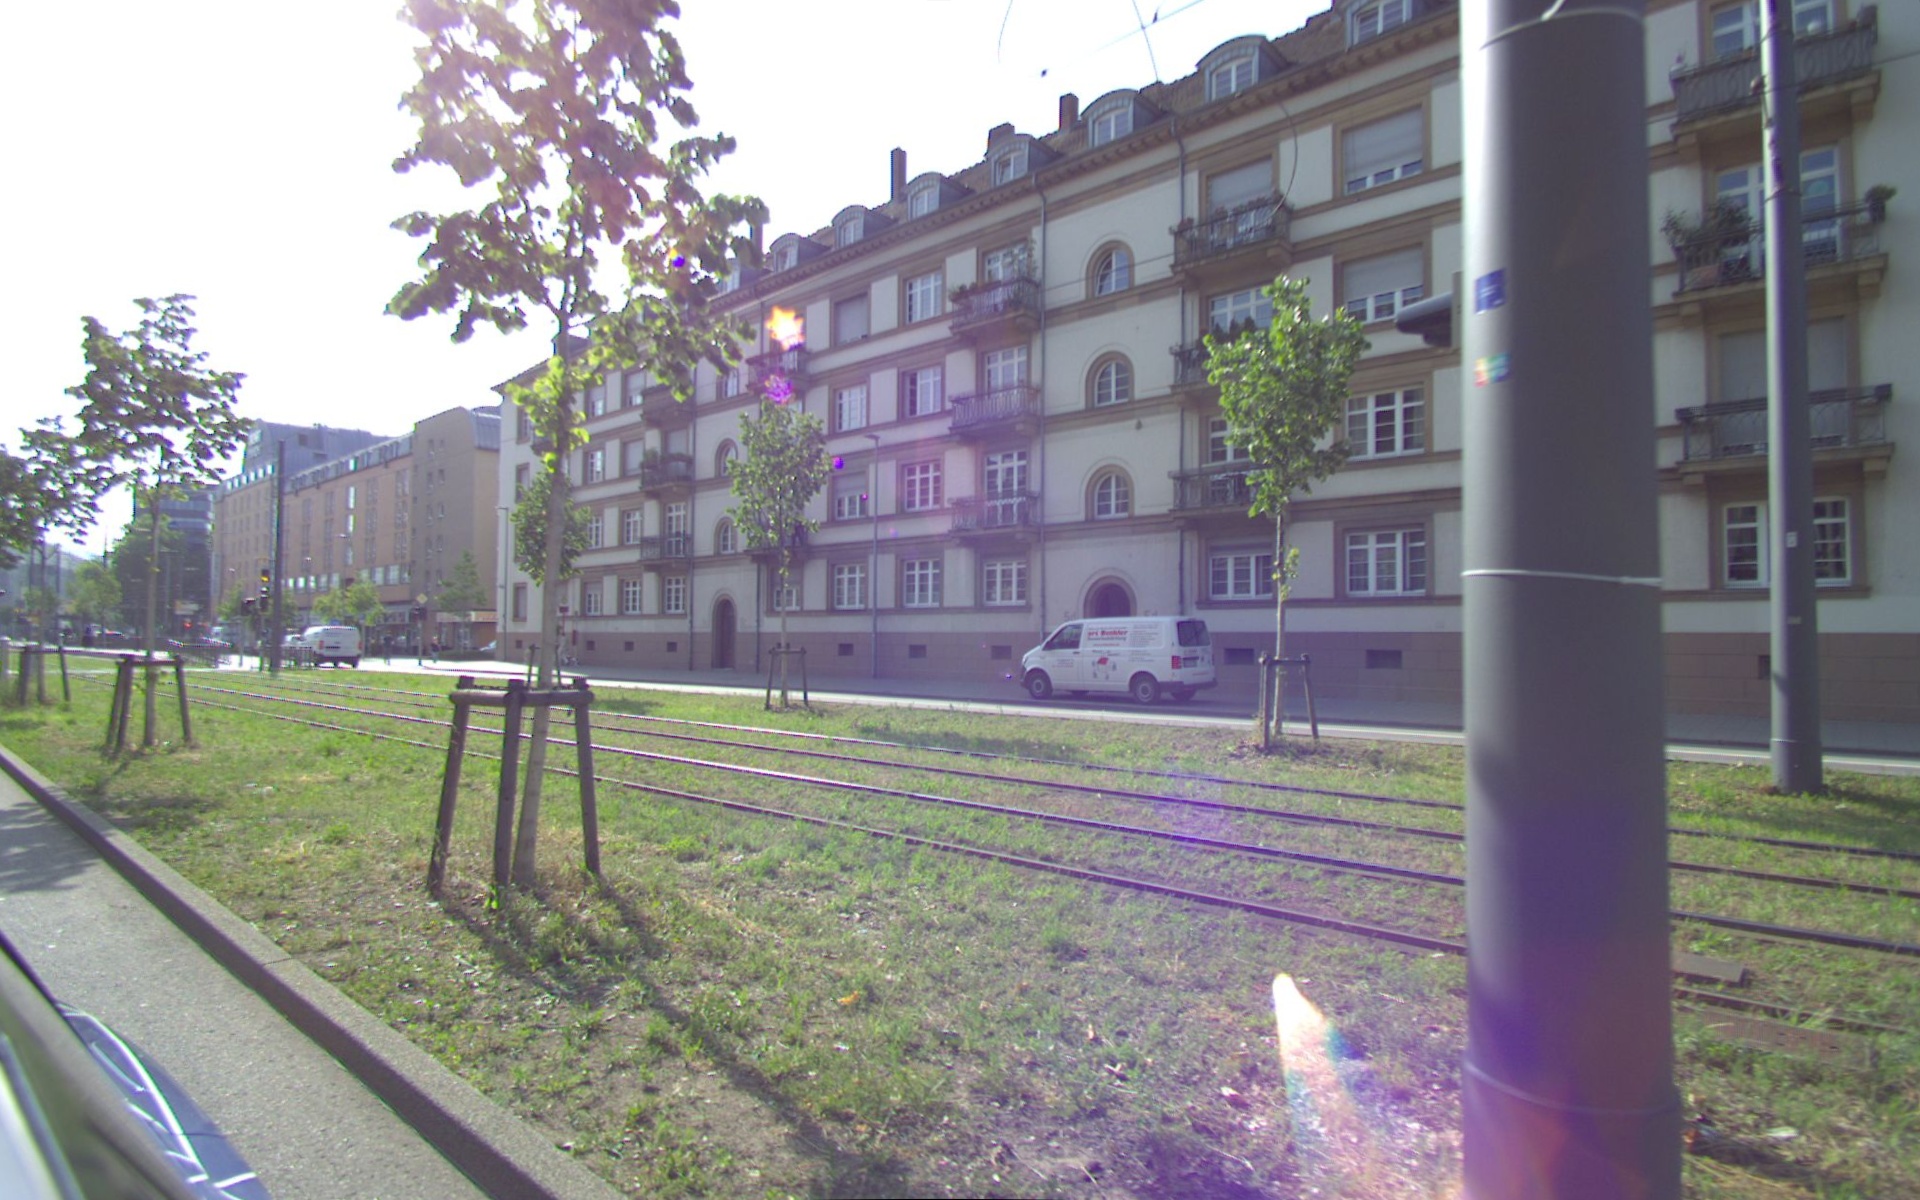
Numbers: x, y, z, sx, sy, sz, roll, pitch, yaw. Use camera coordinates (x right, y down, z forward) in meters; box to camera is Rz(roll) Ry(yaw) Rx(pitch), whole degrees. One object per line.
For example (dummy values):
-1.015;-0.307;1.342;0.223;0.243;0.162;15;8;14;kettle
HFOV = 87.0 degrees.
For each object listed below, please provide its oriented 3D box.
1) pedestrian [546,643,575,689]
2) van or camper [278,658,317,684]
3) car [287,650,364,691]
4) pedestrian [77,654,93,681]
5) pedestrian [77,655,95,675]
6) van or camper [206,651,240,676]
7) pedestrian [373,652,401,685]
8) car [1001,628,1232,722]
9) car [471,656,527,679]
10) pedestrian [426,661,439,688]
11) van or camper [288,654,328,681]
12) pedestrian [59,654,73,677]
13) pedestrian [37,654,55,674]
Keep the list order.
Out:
-18.493;3.058;46.893;1.157;2.084;0.833;-3;-3;43;pedestrian
-54.371;5.786;83.012;1.970;2.029;4.004;3;-4;-43;van or camper
-30.860;3.388;49.137;5.047;1.909;1.971;-3;-4;44;car
-62.669;4.829;72.480;0.940;1.886;0.730;-3;-4;45;pedestrian
-68.212;5.067;79.006;0.803;1.542;0.675;-1;-3;11;pedestrian
-84.117;7.209;115.452;5.352;2.823;1.972;-3;-4;42;van or camper
-32.753;3.908;57.828;0.856;1.882;1.066;-1;-3;14;pedestrian
3.593;1.707;23.951;5.152;1.933;1.972;-3;-2;43;car
-33.221;4.845;72.824;4.549;1.612;1.746;-2;-4;38;car
-31.294;4.412;60.008;0.668;1.595;0.810;1;-3;-28;pedestrian
-50.727;5.219;78.698;1.907;1.983;4.003;2;-4;-44;van or camper
-74.654;5.427;84.528;0.555;1.901;0.796;-3;-4;43;pedestrian
-82.362;5.758;91.174;0.825;1.760;0.784;1;-4;5;pedestrian
